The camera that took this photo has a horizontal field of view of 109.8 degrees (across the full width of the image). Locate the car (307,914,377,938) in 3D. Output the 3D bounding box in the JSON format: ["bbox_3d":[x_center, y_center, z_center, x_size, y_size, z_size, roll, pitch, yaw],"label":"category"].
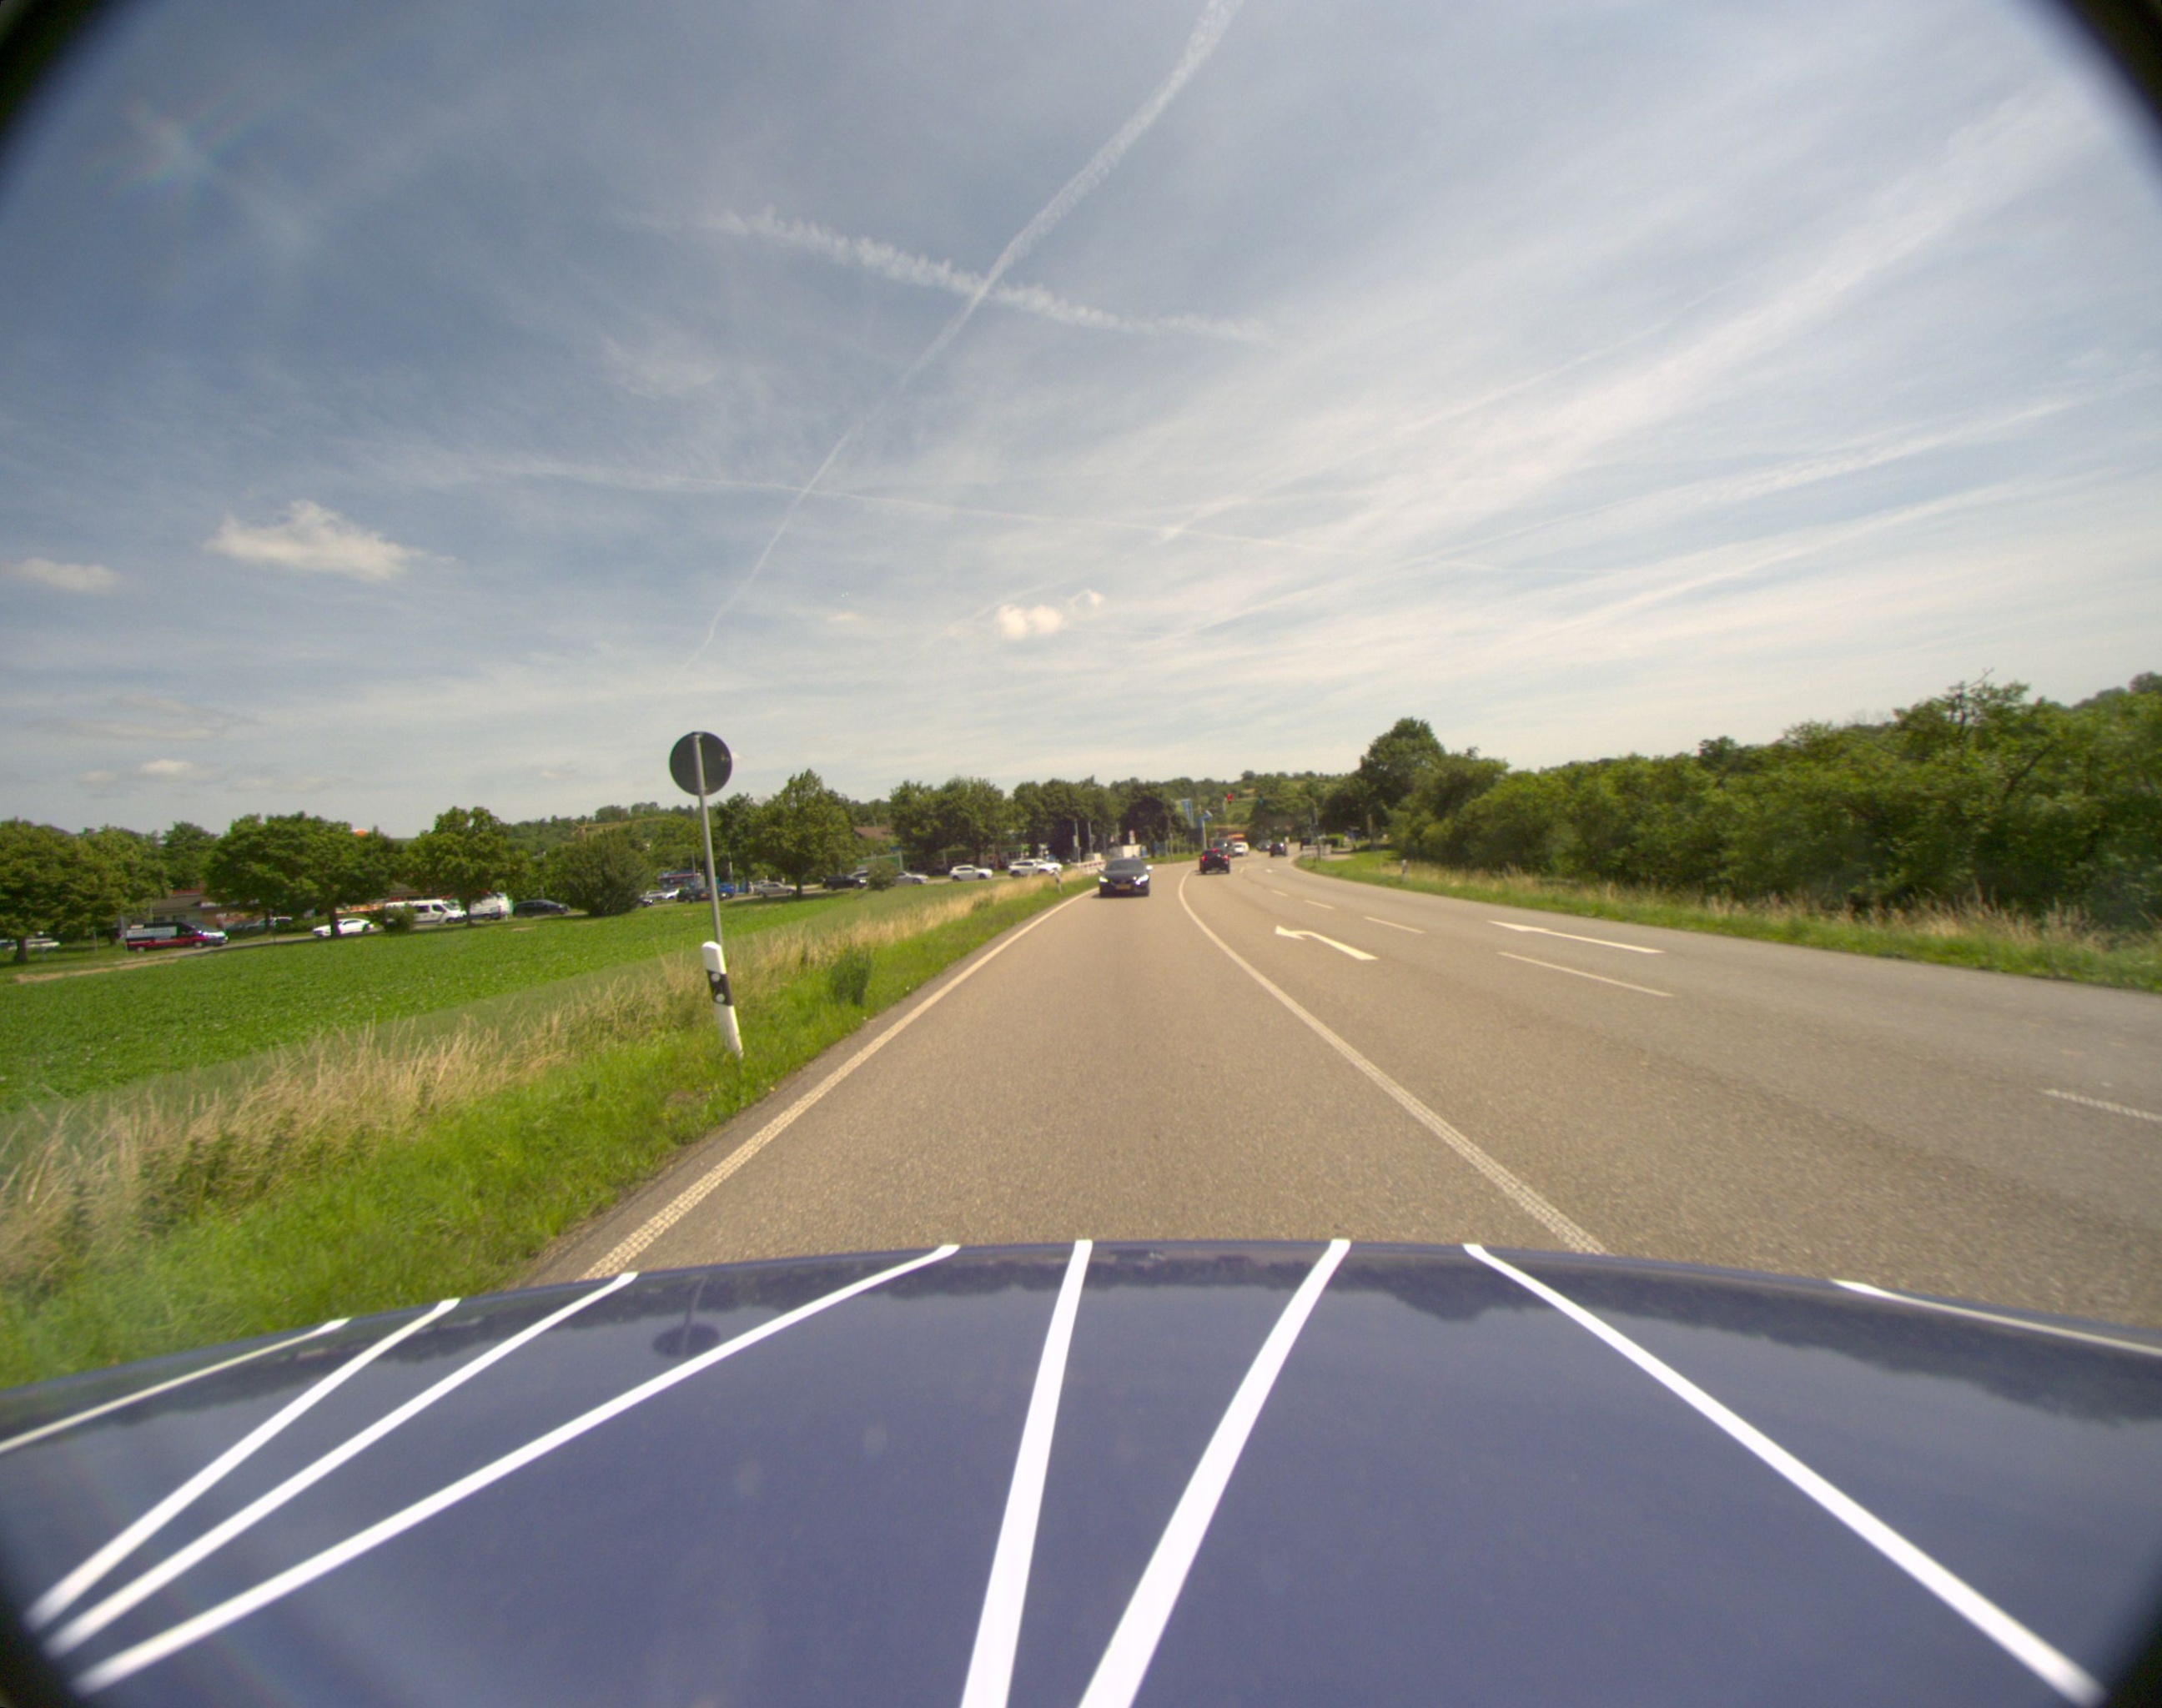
[{"bbox_3d":[-70.929,6.892,73.007,1.875,1.550,4.502,-4,2,8],"label":"car"}]

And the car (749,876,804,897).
[{"bbox_3d":[-29.686,3.129,74.198,4.561,1.502,1.799,-5,2,-9],"label":"car"}]

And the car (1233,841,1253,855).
[{"bbox_3d":[21.544,-0.804,101.216,1.780,1.484,4.162,-3,2,23],"label":"car"}]

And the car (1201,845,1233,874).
[{"bbox_3d":[8.950,0.320,49.717,1.774,1.649,4.003,-3,1,13],"label":"car"}]

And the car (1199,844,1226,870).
[{"bbox_3d":[9.687,0.187,55.905,1.774,1.649,4.002,-3,1,11],"label":"car"}]

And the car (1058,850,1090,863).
[{"bbox_3d":[-1.085,0.375,116.997,4.637,1.612,1.995,-6,3,-43],"label":"car"}]

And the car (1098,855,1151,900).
[{"bbox_3d":[1.625,0.822,28.255,1.782,1.484,4.158,-1,0,3],"label":"car"}]

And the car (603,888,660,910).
[{"bbox_3d":[-42.185,4.197,71.435,4.235,1.502,1.798,-5,2,-17],"label":"car"}]

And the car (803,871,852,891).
[{"bbox_3d":[-27.067,2.867,81.193,4.526,1.682,1.865,-4,2,-8],"label":"car"}]

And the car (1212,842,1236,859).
[{"bbox_3d":[17.161,-0.439,91.357,1.806,1.723,4.005,-3,2,25],"label":"car"}]

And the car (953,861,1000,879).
[{"bbox_3d":[-10.176,1.548,74.114,4.100,1.411,1.801,-4,2,7],"label":"car"}]

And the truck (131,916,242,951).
[{"bbox_3d":[-72.160,6.392,61.379,5.479,1.965,1.797,-5,2,-20],"label":"truck"}]

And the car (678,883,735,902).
[{"bbox_3d":[-36.027,3.666,73.269,4.563,1.266,1.798,-5,2,-15],"label":"car"}]

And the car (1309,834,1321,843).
[{"bbox_3d":[39.743,-2.652,128.827,1.773,1.487,4.004,-2,1,18],"label":"car"}]

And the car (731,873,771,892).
[{"bbox_3d":[-39.122,3.368,90.197,4.001,1.814,1.820,-5,2,-15],"label":"car"}]

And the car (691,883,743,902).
[{"bbox_3d":[-36.673,3.838,76.648,4.388,1.549,1.783,-4,0,-11],"label":"car"}]

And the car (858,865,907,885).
[{"bbox_3d":[-20.828,2.156,79.936,4.523,1.682,1.866,-4,2,0],"label":"car"}]

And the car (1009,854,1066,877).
[{"bbox_3d":[-3.967,1.045,69.007,4.632,1.598,2.000,-5,3,20],"label":"car"}]

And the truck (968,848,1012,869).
[{"bbox_3d":[-13.229,0.682,110.731,6.159,2.603,2.257,-5,1,-44],"label":"truck"}]

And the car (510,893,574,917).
[{"bbox_3d":[-49.756,4.690,70.267,4.293,1.688,1.997,-5,2,-15],"label":"car"}]

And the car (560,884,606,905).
[{"bbox_3d":[-55.079,4.475,84.080,4.004,1.814,1.819,-5,2,-28],"label":"car"}]

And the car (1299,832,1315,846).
[{"bbox_3d":[33.789,-2.270,113.614,1.997,1.994,5.170,-3,1,19],"label":"car"}]

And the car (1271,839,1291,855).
[{"bbox_3d":[23.445,-0.880,89.028,1.996,1.686,4.004,-2,1,18],"label":"car"}]

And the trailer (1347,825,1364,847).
[{"bbox_3d":[53.930,-3.585,149.662,2.570,4.006,13.609,-2,1,18],"label":"trailer"}]

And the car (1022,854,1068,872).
[{"bbox_3d":[-3.494,0.898,73.283,3.964,1.411,1.830,-4,2,22],"label":"car"}]

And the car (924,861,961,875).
[{"bbox_3d":[-18.007,1.794,98.976,4.326,1.355,1.756,-5,2,-29],"label":"car"}]

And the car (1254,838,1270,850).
[{"bbox_3d":[28.497,-1.572,119.410,1.806,1.722,4.006,-4,0,22],"label":"car"}]

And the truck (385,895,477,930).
[{"bbox_3d":[-57.210,5.096,67.026,5.642,2.353,2.050,-5,2,-21],"label":"truck"}]

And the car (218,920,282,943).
[{"bbox_3d":[-86.289,8.014,78.918,4.001,1.814,1.820,-5,2,-13],"label":"car"}]

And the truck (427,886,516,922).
[{"bbox_3d":[-57.176,4.658,71.433,5.945,2.722,2.070,-5,3,-15],"label":"truck"}]

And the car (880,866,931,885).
[{"bbox_3d":[-17.344,2.114,75.161,4.558,1.502,1.800,-5,2,1],"label":"car"}]

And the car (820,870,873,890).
[{"bbox_3d":[-22.923,2.550,74.370,4.560,1.502,1.799,-5,3,-5],"label":"car"}]
